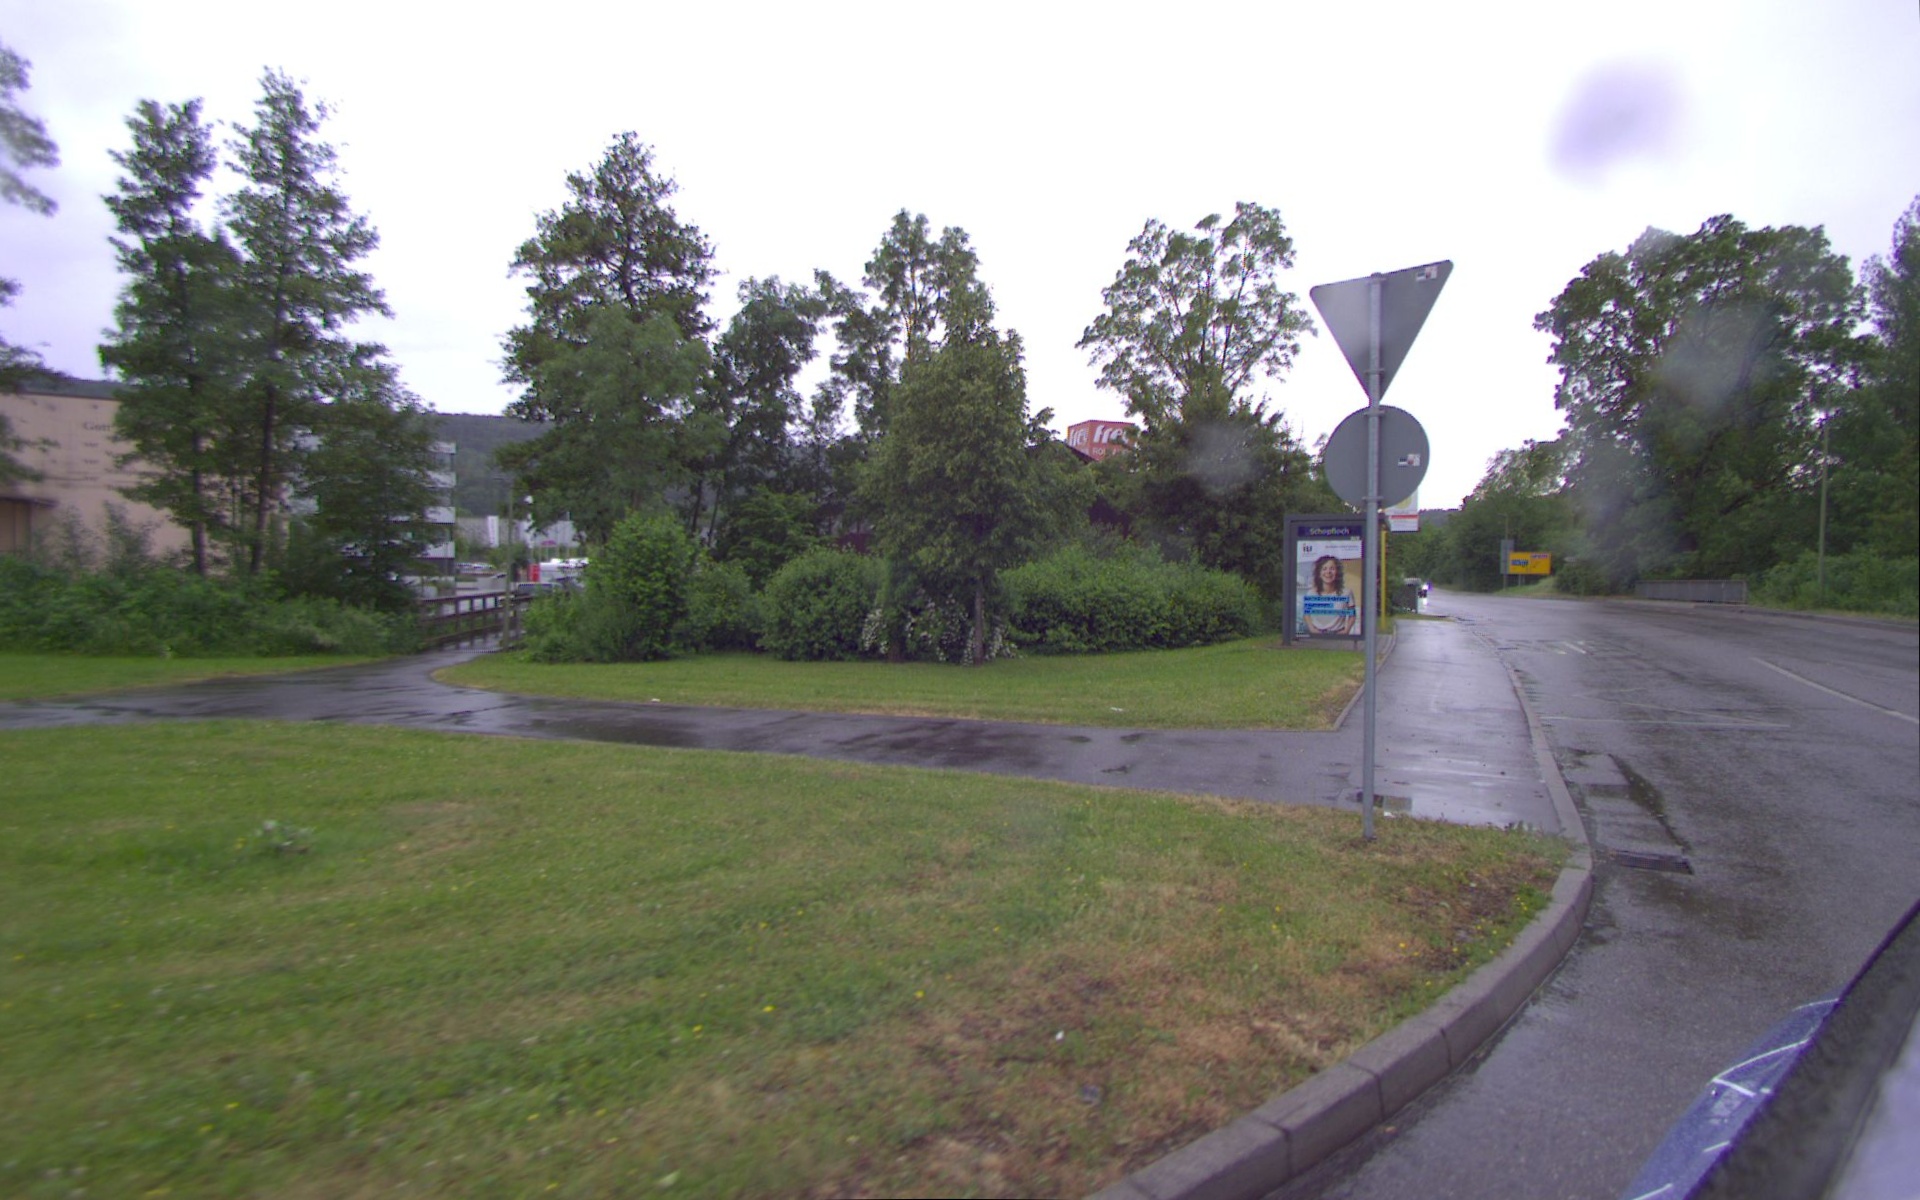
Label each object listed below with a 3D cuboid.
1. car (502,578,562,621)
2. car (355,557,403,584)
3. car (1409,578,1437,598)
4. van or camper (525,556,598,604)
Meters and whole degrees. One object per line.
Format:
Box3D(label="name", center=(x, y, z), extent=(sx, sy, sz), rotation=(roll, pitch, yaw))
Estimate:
Box3D(label="car", center=(-18.475, -0.063, 43.815), extent=(1.958, 1.735, 4.009), rotation=(-1, 1, -17))
Box3D(label="car", center=(-44.673, -2.291, 77.776), extent=(3.984, 2.038, 1.971), rotation=(2, 3, 41))
Box3D(label="car", center=(36.582, -0.984, 79.853), extent=(1.839, 1.508, 4.082), rotation=(0, 1, 27))
Box3D(label="van or camper", center=(-20.875, -1.066, 53.288), extent=(2.490, 2.272, 5.989), rotation=(2, 1, -11))
